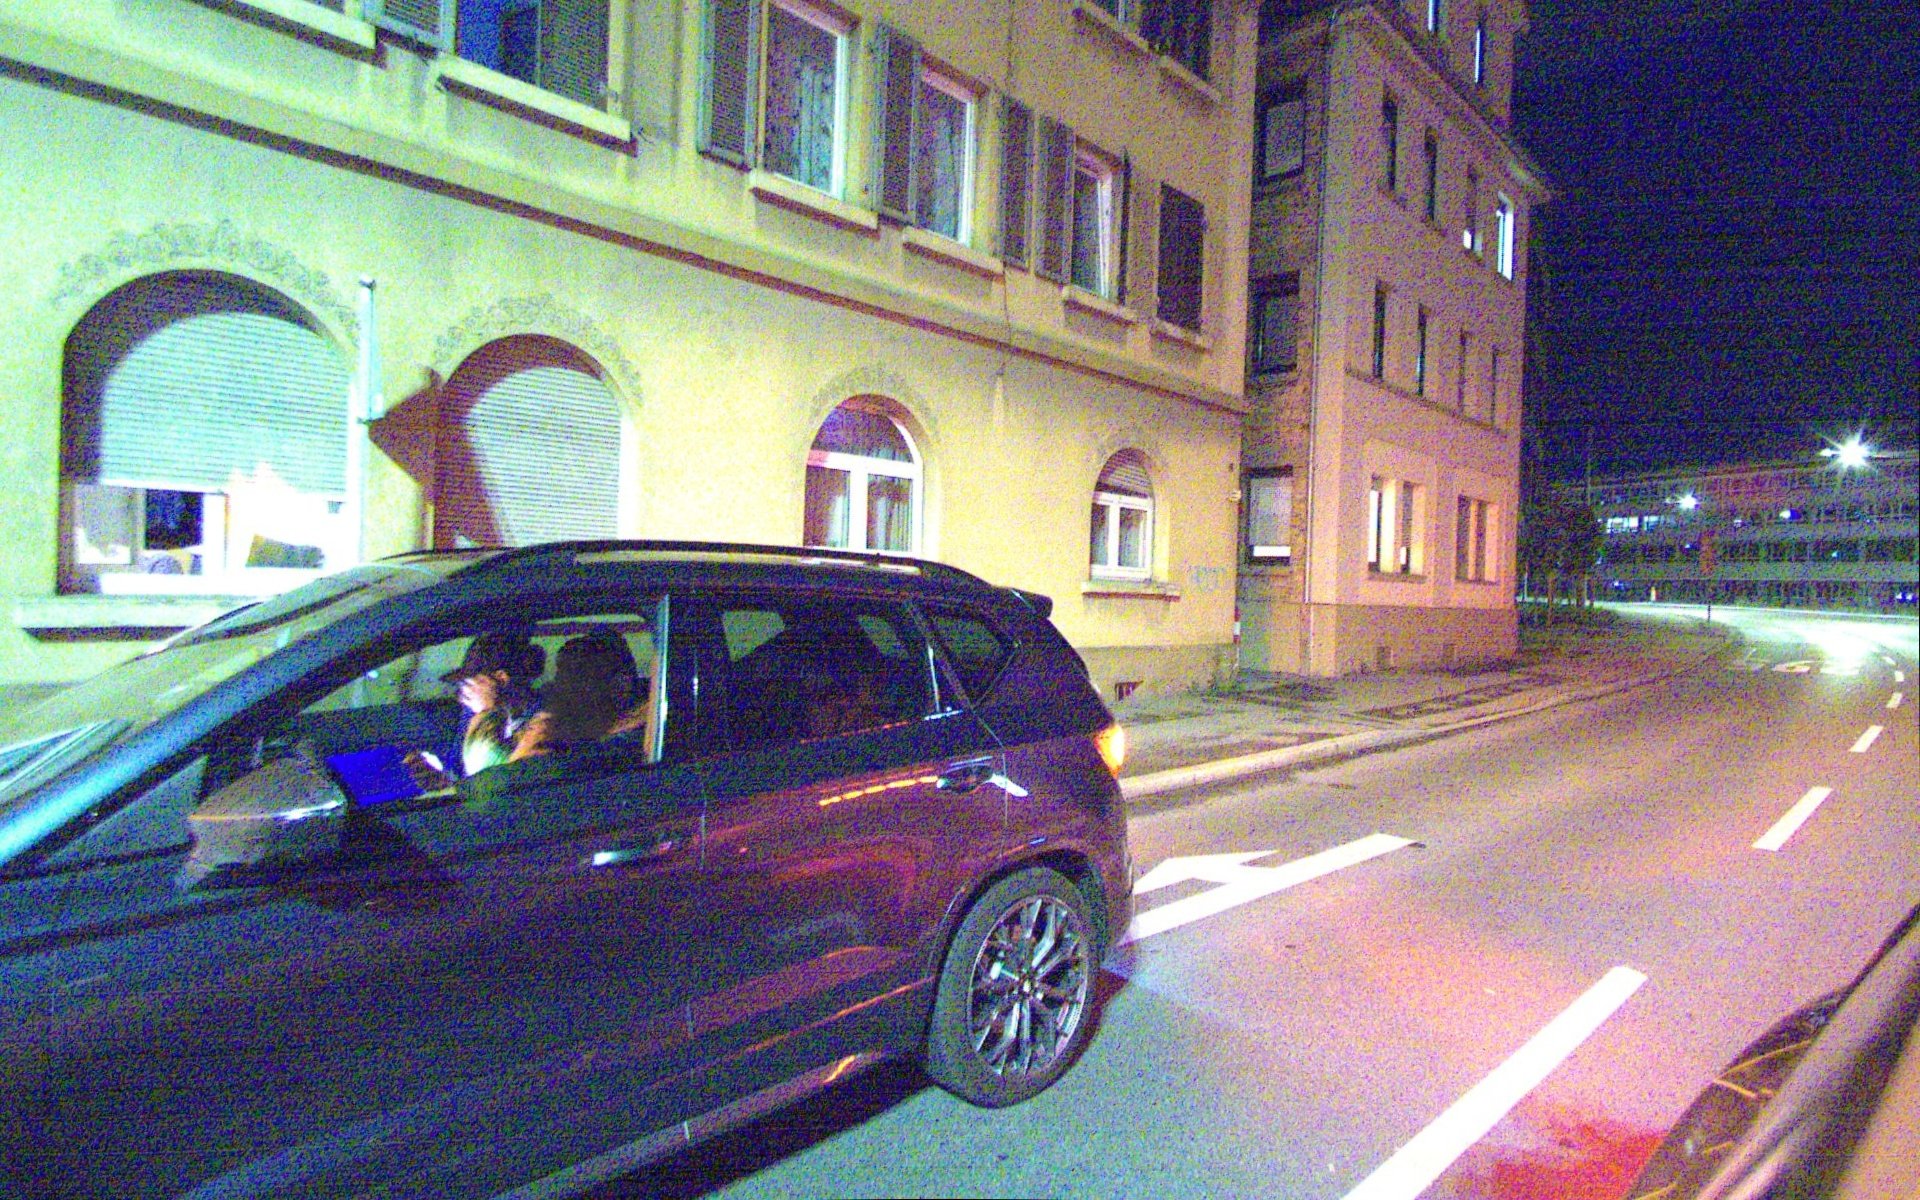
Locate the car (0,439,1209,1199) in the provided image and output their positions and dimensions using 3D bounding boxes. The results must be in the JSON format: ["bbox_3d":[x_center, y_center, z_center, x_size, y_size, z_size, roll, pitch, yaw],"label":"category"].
[{"bbox_3d":[-1.195,0.557,2.709,4.160,1.630,1.671,-2,2,-44],"label":"car"}]
